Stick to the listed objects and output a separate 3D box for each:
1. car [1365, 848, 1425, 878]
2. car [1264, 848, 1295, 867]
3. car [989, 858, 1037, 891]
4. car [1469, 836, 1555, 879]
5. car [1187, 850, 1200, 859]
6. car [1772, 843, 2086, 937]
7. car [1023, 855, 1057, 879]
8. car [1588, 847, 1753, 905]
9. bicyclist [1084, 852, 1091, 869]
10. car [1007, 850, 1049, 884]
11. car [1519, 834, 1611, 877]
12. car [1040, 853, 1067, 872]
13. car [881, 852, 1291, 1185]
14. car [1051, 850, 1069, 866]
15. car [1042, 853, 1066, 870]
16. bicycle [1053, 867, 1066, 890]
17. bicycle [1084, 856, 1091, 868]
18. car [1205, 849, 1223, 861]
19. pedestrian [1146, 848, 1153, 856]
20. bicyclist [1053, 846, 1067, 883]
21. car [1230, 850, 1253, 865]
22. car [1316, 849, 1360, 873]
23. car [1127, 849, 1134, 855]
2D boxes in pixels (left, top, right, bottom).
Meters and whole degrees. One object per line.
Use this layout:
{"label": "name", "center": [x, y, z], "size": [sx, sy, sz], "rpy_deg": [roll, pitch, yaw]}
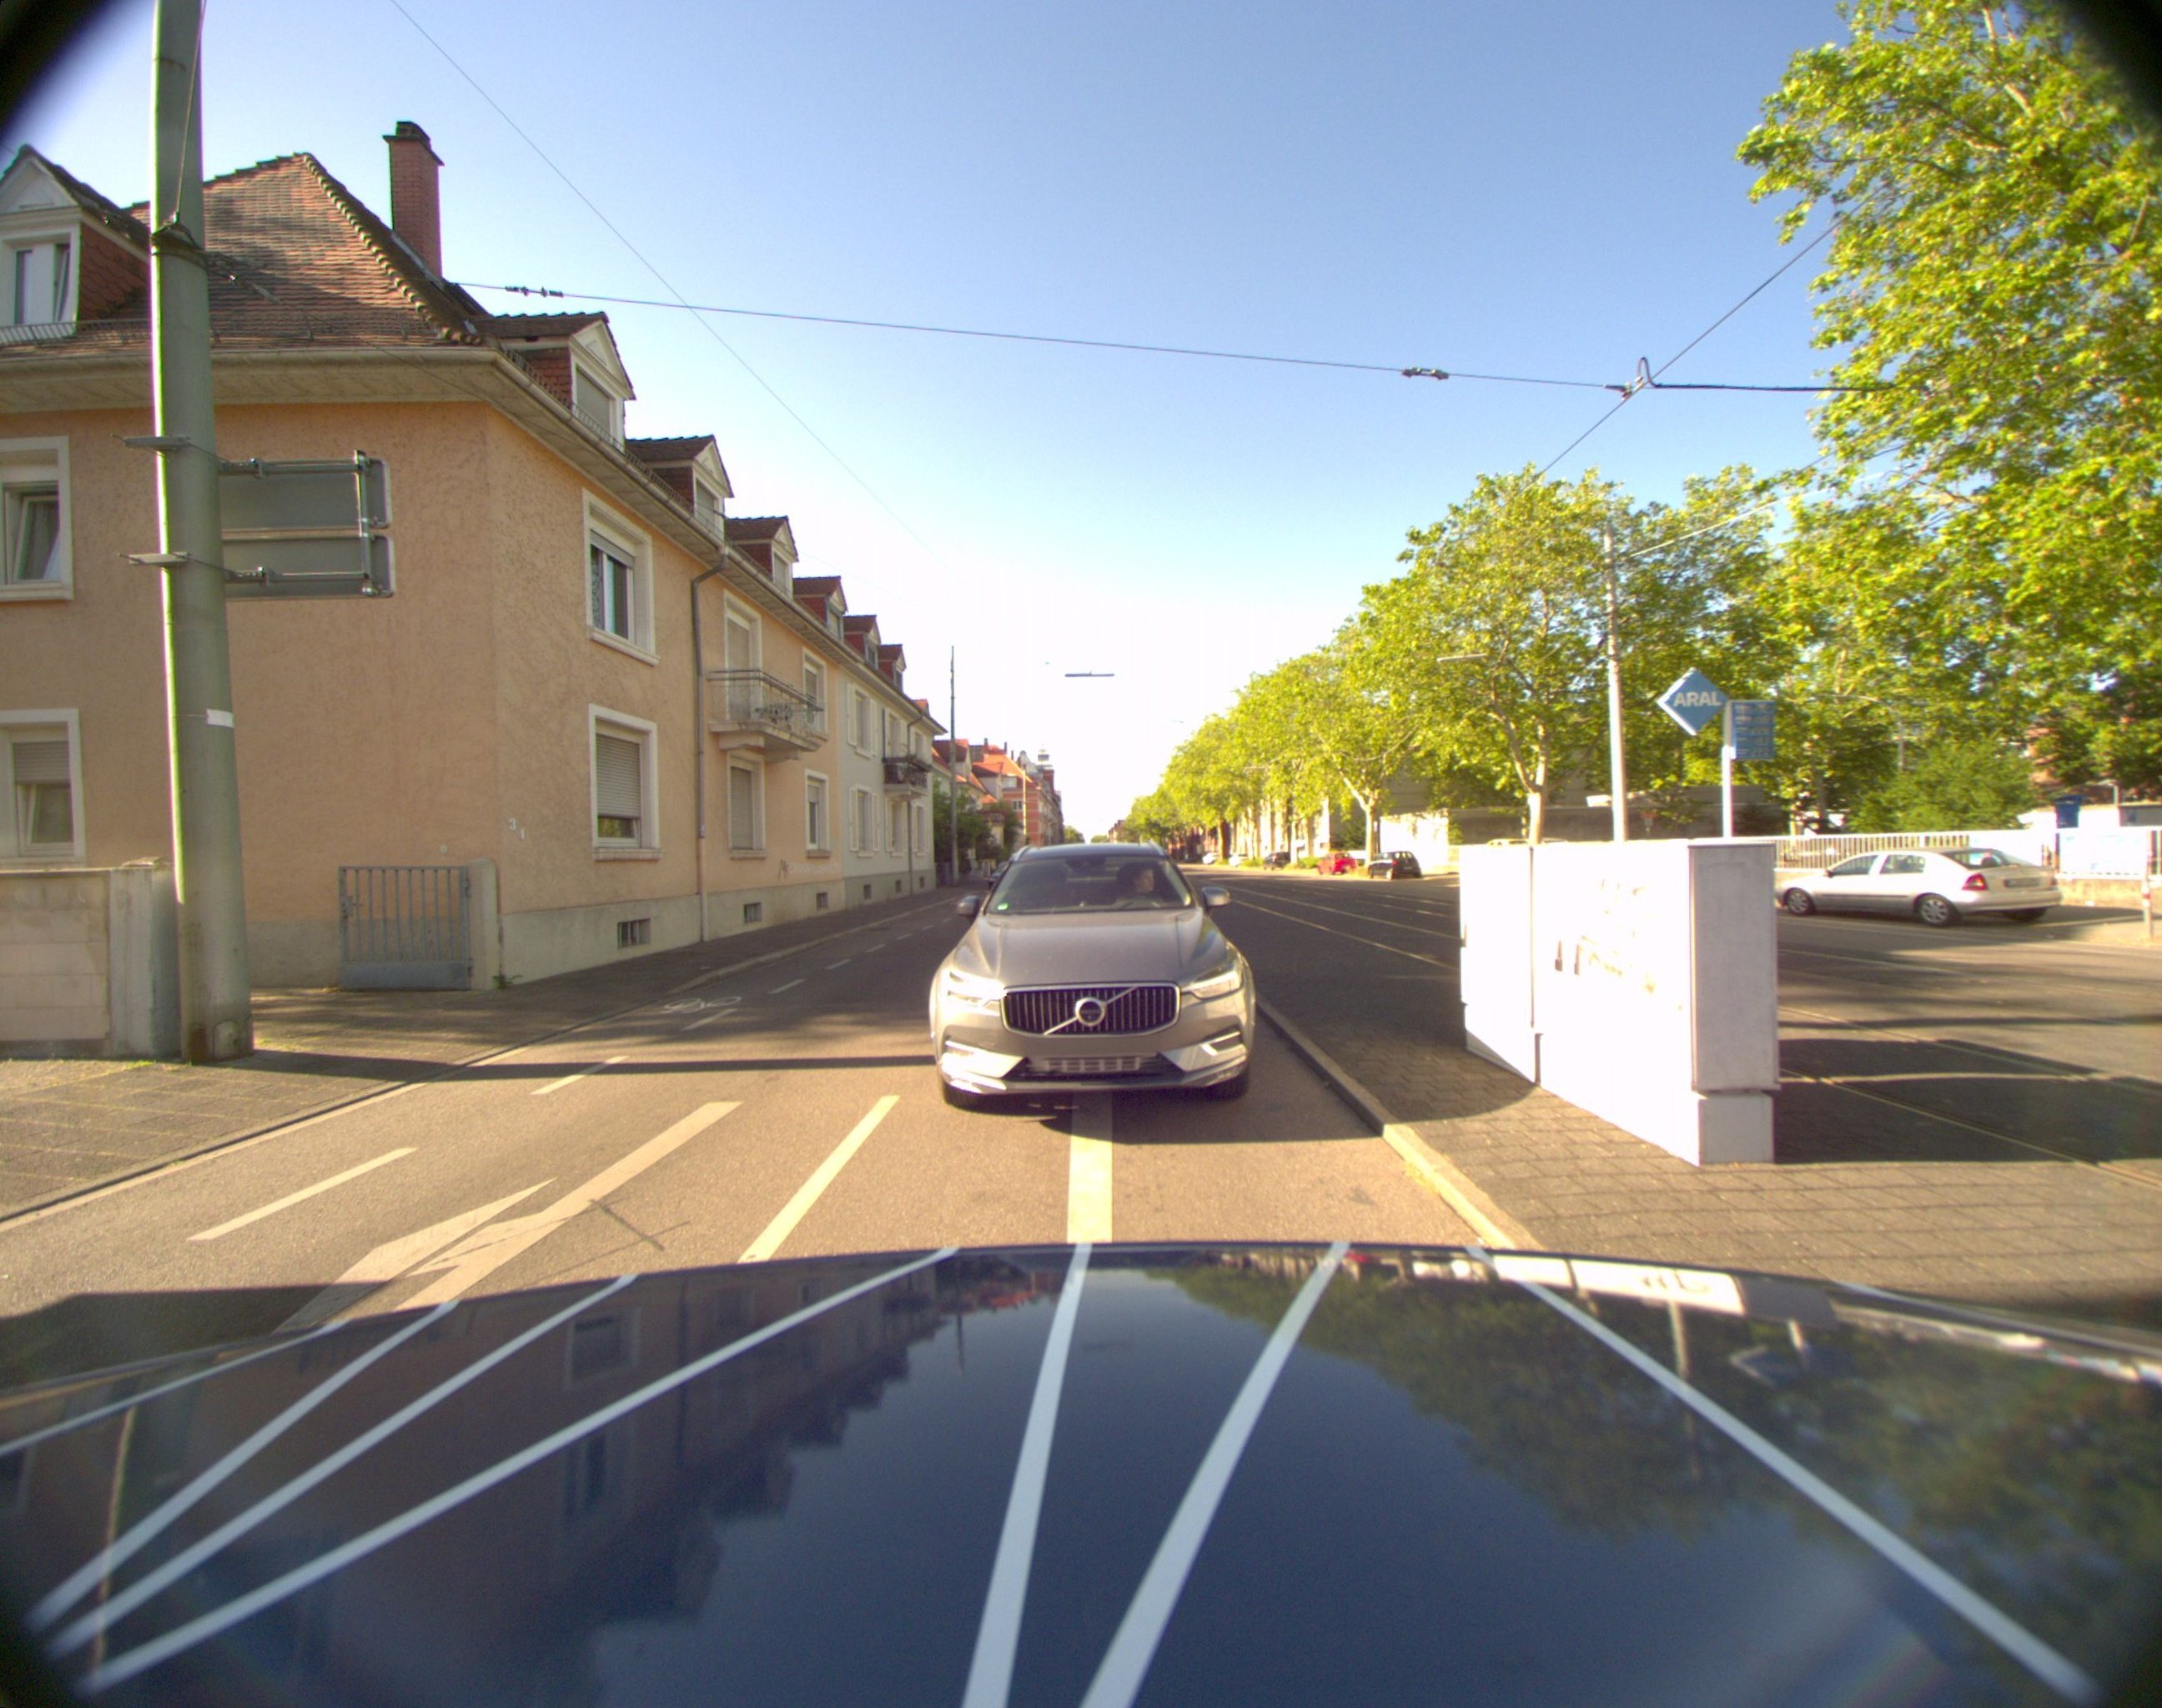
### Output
{"label": "car", "center": [16.890, 0.452, 41.041], "size": [1.758, 1.449, 3.858], "rpy_deg": [-3, 0, 3]}
{"label": "car", "center": [17.171, 0.286, 65.915], "size": [1.758, 1.536, 3.858], "rpy_deg": [-3, 0, 3]}
{"label": "car", "center": [-3.238, 0.956, 37.075], "size": [1.867, 1.399, 4.424], "rpy_deg": [-1, 0, 1]}
{"label": "car", "center": [21.810, 0.163, 38.640], "size": [1.999, 2.002, 3.999], "rpy_deg": [-1, 0, -1]}
{"label": "car", "center": [18.503, 0.045, 125.293], "size": [1.758, 1.475, 3.858], "rpy_deg": [-3, 0, 3]}
{"label": "car", "center": [16.237, 0.604, 14.907], "size": [1.847, 1.477, 3.858], "rpy_deg": [-4, 0, 2]}
{"label": "car", "center": [-2.580, 0.805, 48.497], "size": [1.867, 1.399, 4.078], "rpy_deg": [-1, 0, 1]}
{"label": "car", "center": [16.477, 0.564, 21.514], "size": [1.745, 1.389, 3.858], "rpy_deg": [-4, 0, 3]}
{"label": "bicyclist", "center": [0.641, 0.627, 73.838], "size": [0.562, 1.607, 1.016], "rpy_deg": [-2, 1, 0]}
{"label": "car", "center": [-2.915, 0.693, 42.829], "size": [1.867, 1.778, 5.297], "rpy_deg": [-1, 0, 1]}
{"label": "car", "center": [24.158, 0.074, 38.100], "size": [1.999, 2.002, 3.999], "rpy_deg": [-1, 0, -1]}
{"label": "car", "center": [-2.135, 0.658, 60.056], "size": [1.867, 1.399, 4.078], "rpy_deg": [-1, 0, 1]}
{"label": "car", "center": [0.058, 0.810, 6.105], "size": [1.998, 1.609, 4.697], "rpy_deg": [-1, 0, 1]}
{"label": "car", "center": [-2.328, 0.420, 85.449], "size": [1.867, 1.653, 4.078], "rpy_deg": [-1, 0, 1]}
{"label": "car", "center": [-2.356, 0.611, 66.360], "size": [1.867, 1.399, 4.078], "rpy_deg": [-1, 0, 1]}
{"label": "bicycle", "center": [-0.997, 1.146, 36.095], "size": [0.533, 1.011, 1.758], "rpy_deg": [-1, 0, 1]}
{"label": "bicycle", "center": [0.631, 0.769, 73.981], "size": [0.550, 1.056, 1.794], "rpy_deg": [-1, 1, -1]}
{"label": "car", "center": [17.668, 0.153, 100.936], "size": [1.758, 1.475, 3.858], "rpy_deg": [-3, 0, 3]}
{"label": "pedestrian", "center": [18.880, -0.536, 208.643], "size": [1.686, 2.002, 1.761], "rpy_deg": [-1, 1, 1]}
{"label": "bicyclist", "center": [-0.992, 0.483, 36.138], "size": [0.561, 1.721, 1.084], "rpy_deg": [-2, 1, 1]}
{"label": "car", "center": [17.575, 0.346, 83.343], "size": [1.758, 1.475, 3.858], "rpy_deg": [-3, 0, 3]}
{"label": "car", "center": [16.902, 0.444, 50.183], "size": [1.717, 1.421, 3.858], "rpy_deg": [-3, 0, 3]}
{"label": "car", "center": [14.953, -0.499, 229.694], "size": [1.998, 1.685, 4.000], "rpy_deg": [-1, 0, 1]}
